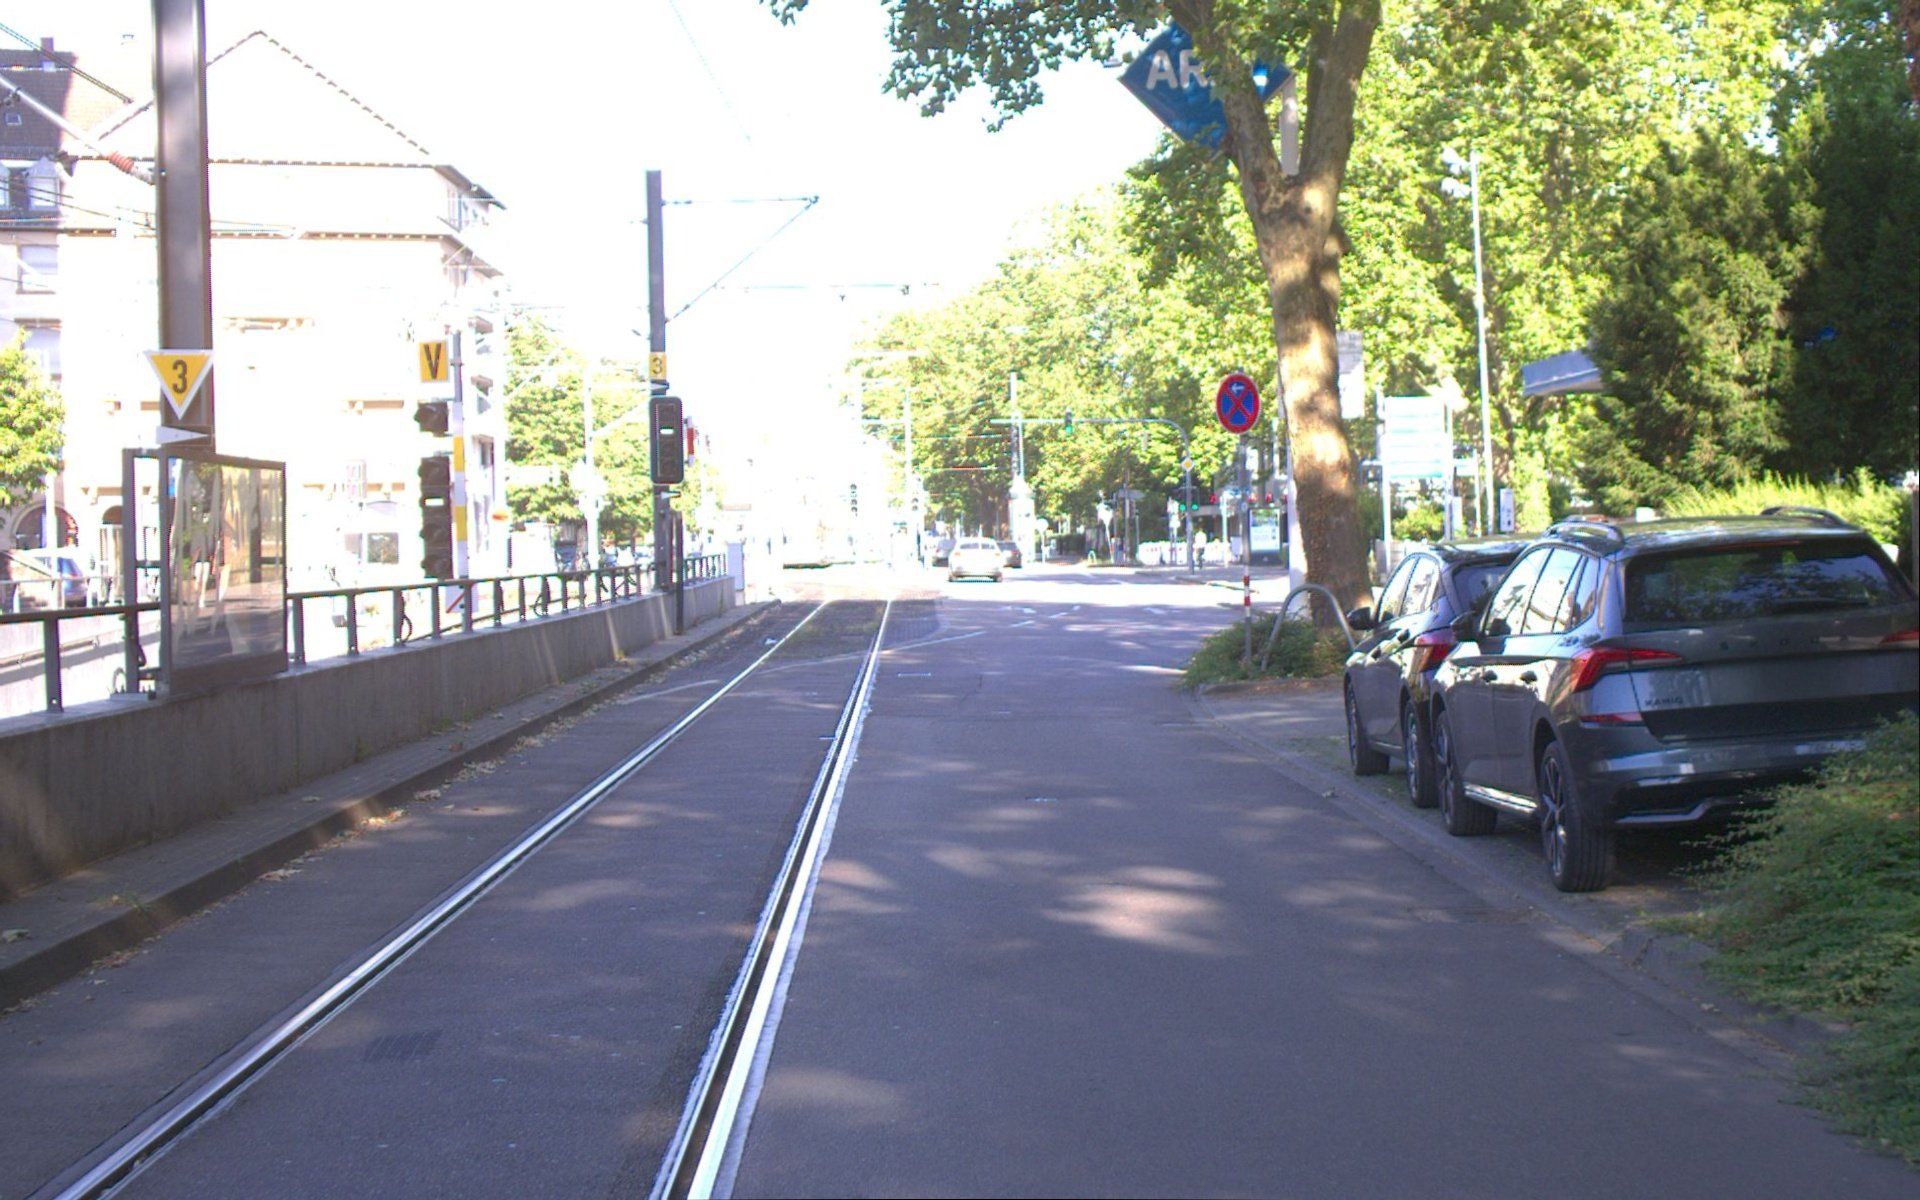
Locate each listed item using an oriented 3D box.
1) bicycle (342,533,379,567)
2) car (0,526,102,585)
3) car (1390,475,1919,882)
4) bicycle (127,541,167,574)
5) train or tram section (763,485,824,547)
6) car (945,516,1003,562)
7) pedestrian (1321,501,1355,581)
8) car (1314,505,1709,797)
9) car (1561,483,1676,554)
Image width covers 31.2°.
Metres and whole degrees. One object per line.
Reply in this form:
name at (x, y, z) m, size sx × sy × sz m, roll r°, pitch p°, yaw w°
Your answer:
bicycle at (-21.339, -1.776, 122.357) m, size 0.631 × 1.140 × 2.279 m, roll -3°, pitch 1°, yaw 6°
car at (-29.166, -1.401, 107.855) m, size 3.987 × 1.750 × 1.895 m, roll 2°, pitch 1°, yaw 2°
car at (3.167, 0.268, 16.009) m, size 1.616 × 1.581 × 4.417 m, roll -2°, pitch 1°, yaw -1°
bicycle at (-33.305, -1.759, 140.872) m, size 0.821 × 1.278 × 2.565 m, roll 1°, pitch 1°, yaw -31°
train or tram section at (-9.486, -4.805, 197.280) m, size 2.952 × 3.398 × 10.792 m, roll 1°, pitch 1°, yaw 0°
car at (0.443, -2.028, 113.656) m, size 1.745 × 1.457 × 3.645 m, roll 1°, pitch 2°, yaw -2°
pedestrian at (8.604, -1.339, 78.279) m, size 0.603 × 1.770 × 0.690 m, roll -4°, pitch 1°, yaw 3°
car at (3.136, 0.232, 20.268) m, size 1.551 × 1.494 × 4.050 m, roll -2°, pitch 1°, yaw -1°
car at (14.002, -1.725, 73.265) m, size 1.567 × 1.425 × 4.099 m, roll -1°, pitch 1°, yaw -1°
